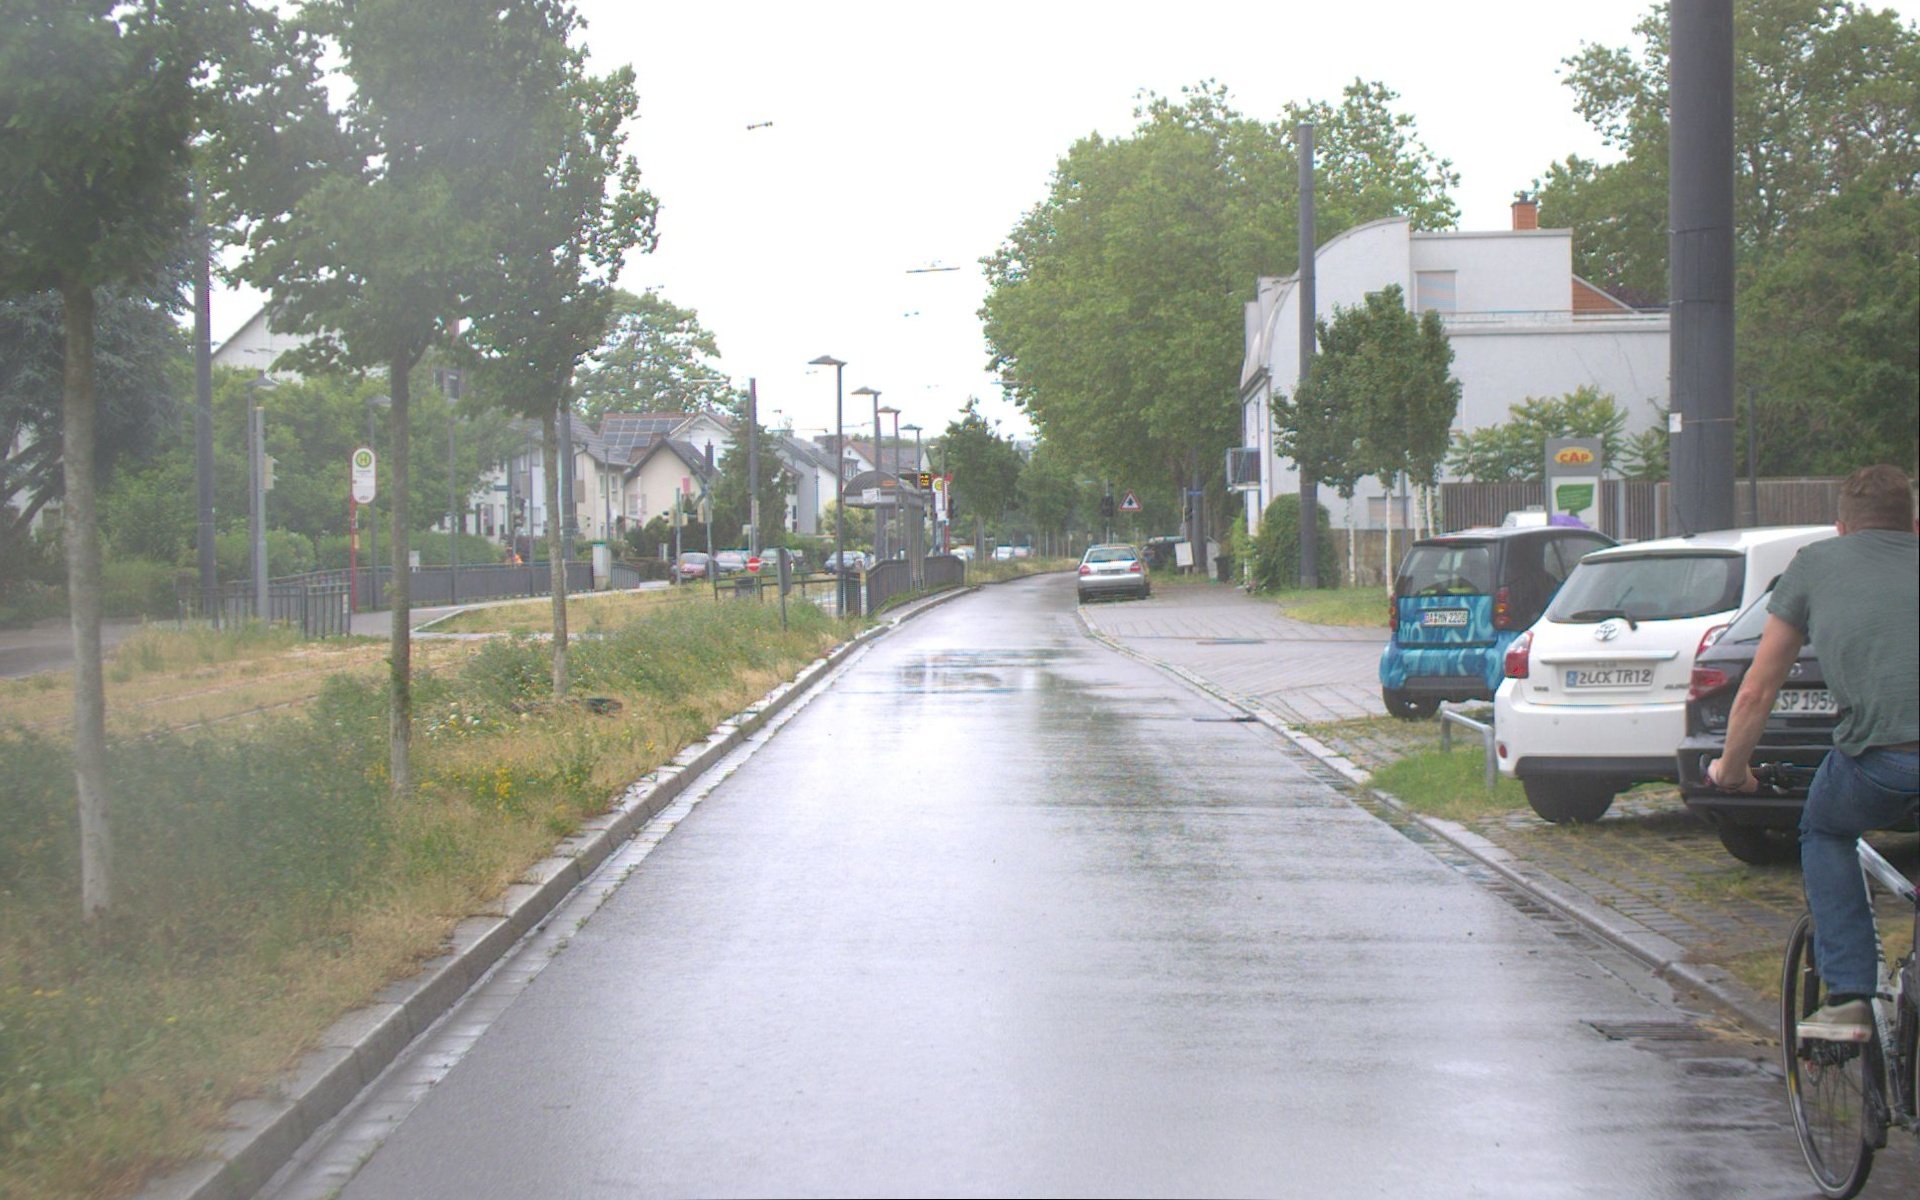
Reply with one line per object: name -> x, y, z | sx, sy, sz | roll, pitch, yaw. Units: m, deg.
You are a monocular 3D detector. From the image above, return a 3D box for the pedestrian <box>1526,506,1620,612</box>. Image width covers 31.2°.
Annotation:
pedestrian -> 8.860, -0.582, 49.734 | 0.835, 1.512, 1.095 | 0, 0, -28

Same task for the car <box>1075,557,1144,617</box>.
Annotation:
car -> 3.875, -0.338, 88.917 | 1.650, 1.400, 4.649 | -4, 0, 3

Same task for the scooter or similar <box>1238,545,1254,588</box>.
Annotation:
scooter or similar -> 7.239, -0.838, 86.940 | 0.333, 1.081, 1.395 | 0, 0, 7

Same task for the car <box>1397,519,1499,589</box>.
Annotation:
car -> 11.043, -1.068, 77.995 | 1.963, 1.529, 4.363 | 0, 2, 4

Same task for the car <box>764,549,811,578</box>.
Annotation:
car -> -9.116, -1.939, 182.013 | 1.929, 1.481, 3.999 | 0, 0, 5

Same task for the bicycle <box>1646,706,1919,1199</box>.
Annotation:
bicycle -> 2.059, 0.812, 7.589 | 0.536, 1.089, 1.949 | 0, 0, -5

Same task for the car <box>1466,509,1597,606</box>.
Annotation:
car -> 10.894, -0.855, 65.797 | 1.963, 1.778, 4.897 | 0, 2, 3

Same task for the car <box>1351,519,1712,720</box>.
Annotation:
car -> 4.684, 0.137, 28.106 | 2.558, 1.542, 1.602 | -2, 1, -39

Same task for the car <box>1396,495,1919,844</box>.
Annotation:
car -> 4.497, 0.281, 18.729 | 4.174, 1.542, 1.764 | -5, 3, -39

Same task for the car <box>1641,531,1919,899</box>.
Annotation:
car -> 5.127, 0.382, 15.735 | 3.933, 1.426, 1.684 | -5, 3, -36

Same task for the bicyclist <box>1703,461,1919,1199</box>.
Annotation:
bicyclist -> 2.035, 0.485, 7.635 | 0.534, 1.554, 0.772 | 0, 0, -6
